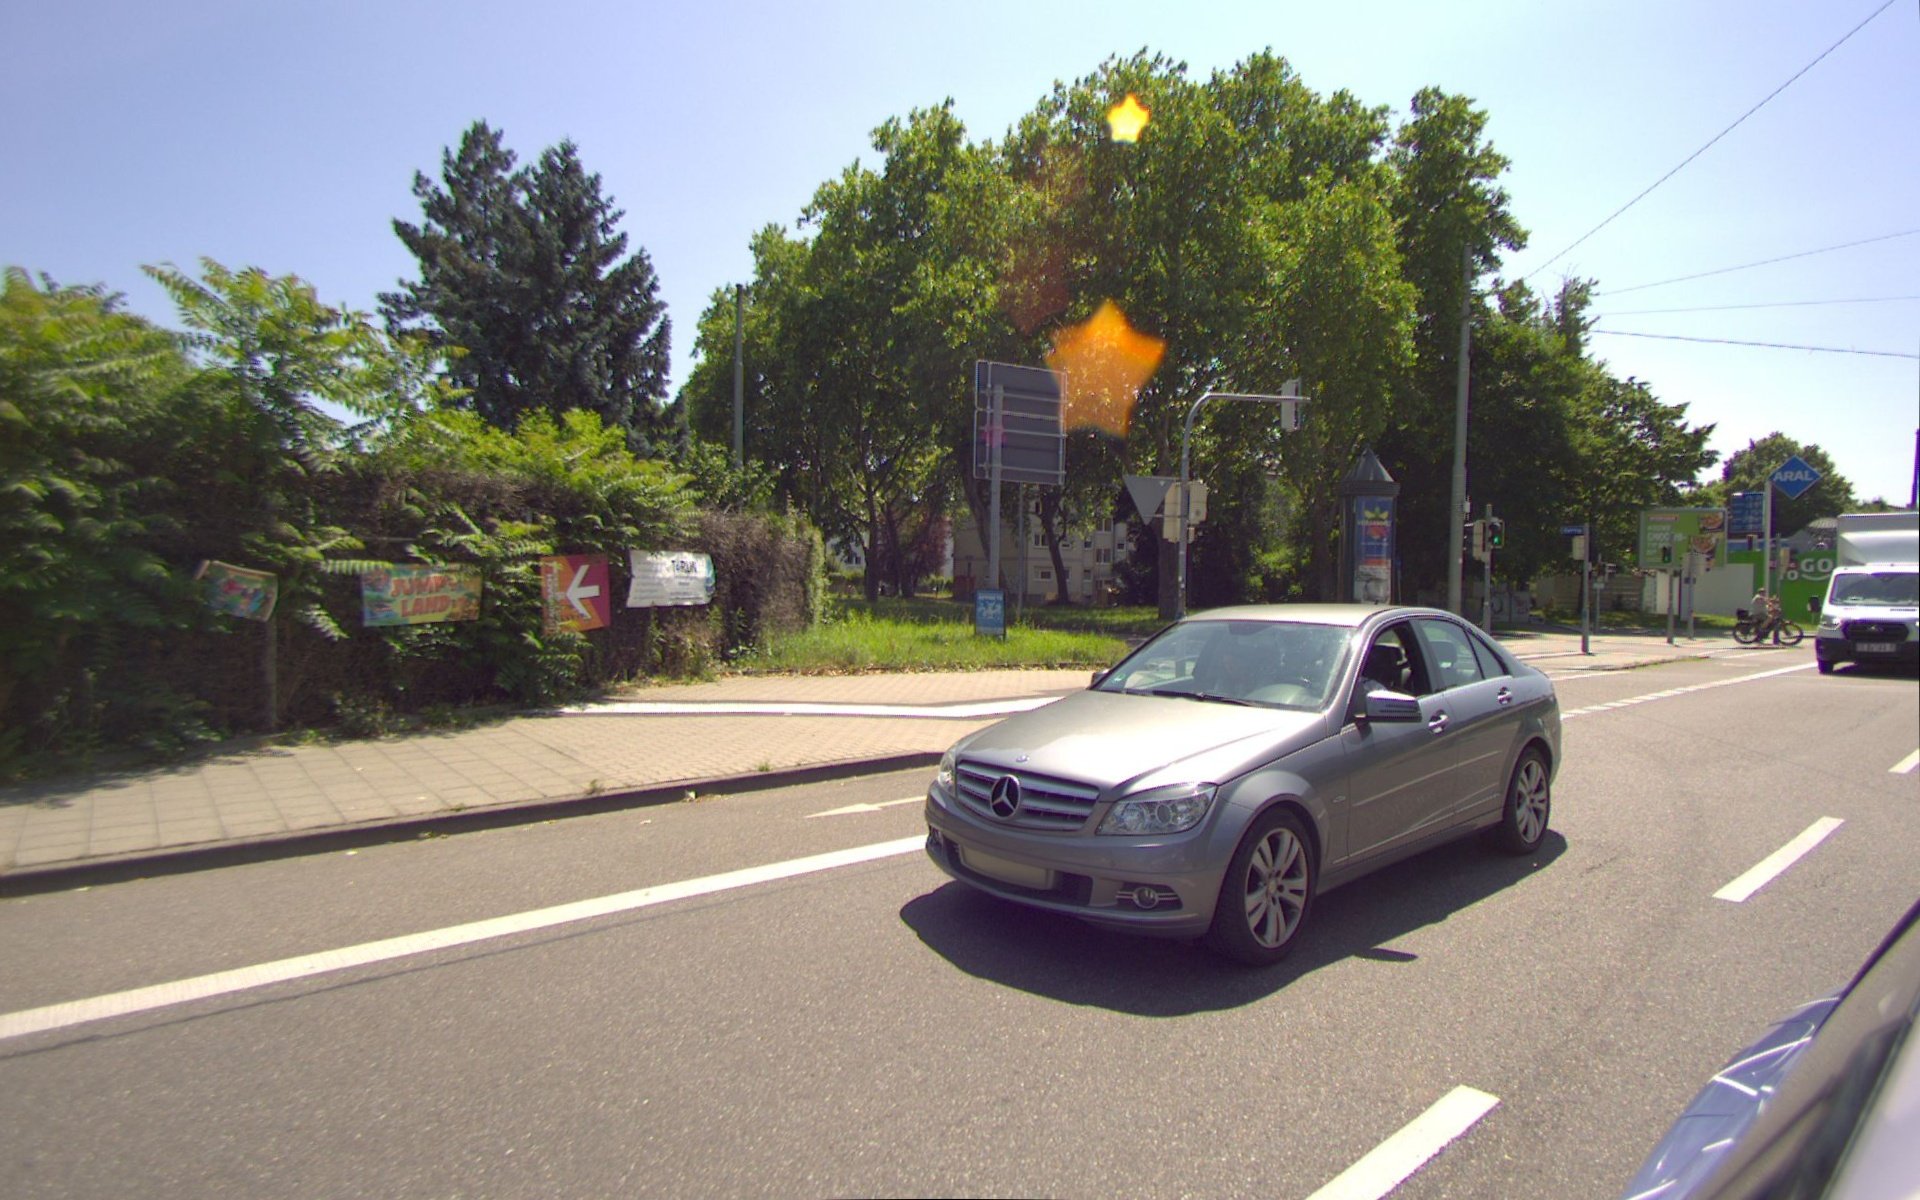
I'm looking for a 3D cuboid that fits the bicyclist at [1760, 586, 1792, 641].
[{"bbox_3d":[27.172,0.445,33.694,0.752,1.811,0.579,0,-1,-32],"label":"bicyclist"}]

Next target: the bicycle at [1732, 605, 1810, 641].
[{"bbox_3d":[27.114,0.749,33.855,0.877,1.139,1.874,0,0,-32],"label":"bicycle"}]

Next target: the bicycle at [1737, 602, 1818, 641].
[{"bbox_3d":[26.403,0.687,32.693,0.880,1.174,1.951,0,1,-44],"label":"bicycle"}]

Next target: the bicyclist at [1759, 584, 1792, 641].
[{"bbox_3d":[26.384,0.386,32.724,0.960,1.810,0.724,0,1,-45],"label":"bicyclist"}]

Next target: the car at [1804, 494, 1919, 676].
[{"bbox_3d":[20.758,-0.315,21.870,8.480,3.377,2.229,-1,0,-39],"label":"car"}]

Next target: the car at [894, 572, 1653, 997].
[{"bbox_3d":[2.208,0.679,5.916,5.207,1.492,1.716,1,-1,-40],"label":"car"}]
